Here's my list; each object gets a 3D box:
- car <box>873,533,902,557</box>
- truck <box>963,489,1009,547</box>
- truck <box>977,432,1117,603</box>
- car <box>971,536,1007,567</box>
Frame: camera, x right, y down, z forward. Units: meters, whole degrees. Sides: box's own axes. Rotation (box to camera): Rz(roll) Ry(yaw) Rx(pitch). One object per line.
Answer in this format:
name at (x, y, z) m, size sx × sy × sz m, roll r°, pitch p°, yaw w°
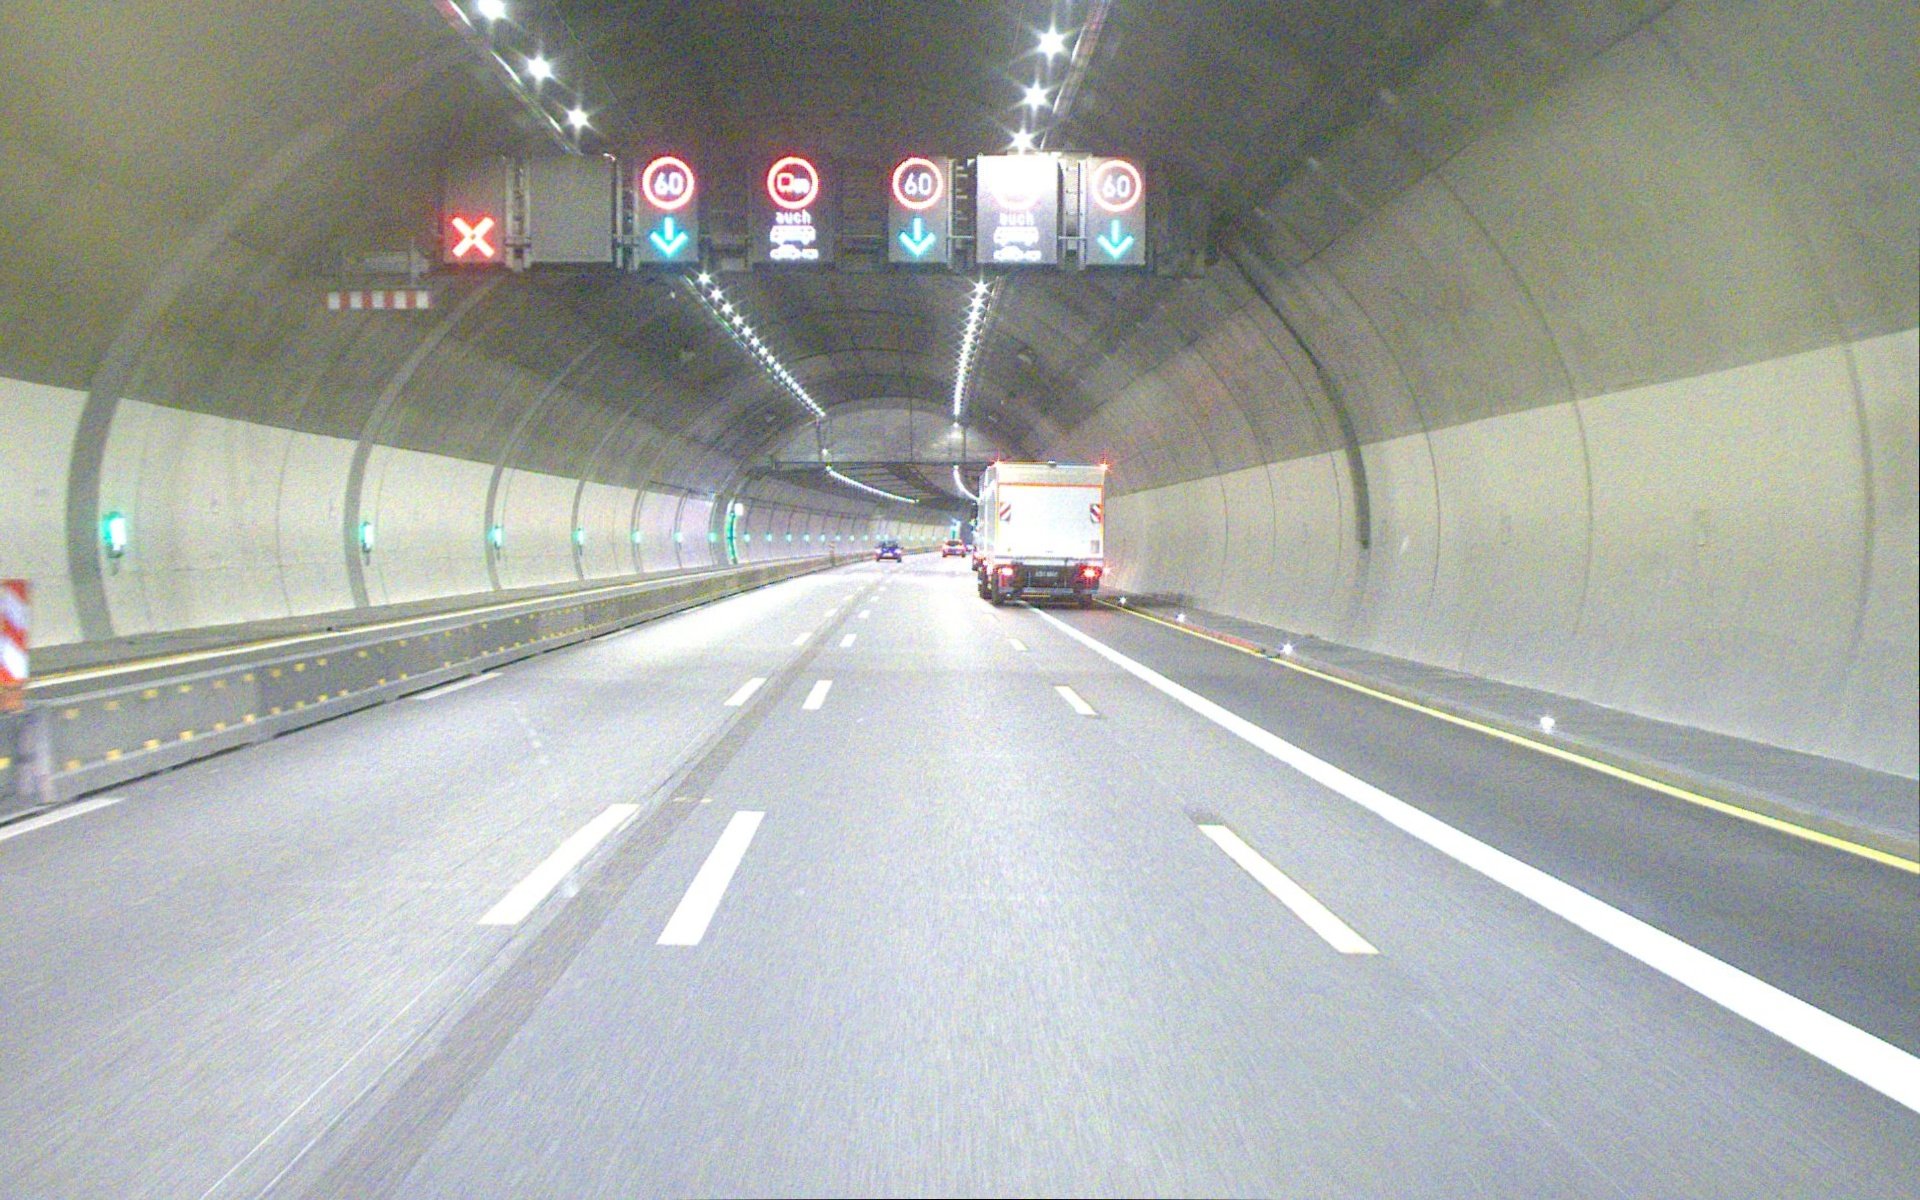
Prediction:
car at (-4.583, -3.480, 217.454) m, size 1.758 × 1.456 × 4.119 m, roll -1°, pitch 2°, yaw 0°
truck at (1.872, -5.677, 240.442) m, size 3.066 × 3.904 × 10.368 m, roll 0°, pitch 0°, yaw 1°
truck at (2.024, -1.950, 84.239) m, size 3.092 × 3.904 × 10.368 m, roll 0°, pitch 0°, yaw 0°
car at (1.472, -2.468, 173.736) m, size 1.739 × 1.456 × 3.960 m, roll -1°, pitch 2°, yaw 1°
